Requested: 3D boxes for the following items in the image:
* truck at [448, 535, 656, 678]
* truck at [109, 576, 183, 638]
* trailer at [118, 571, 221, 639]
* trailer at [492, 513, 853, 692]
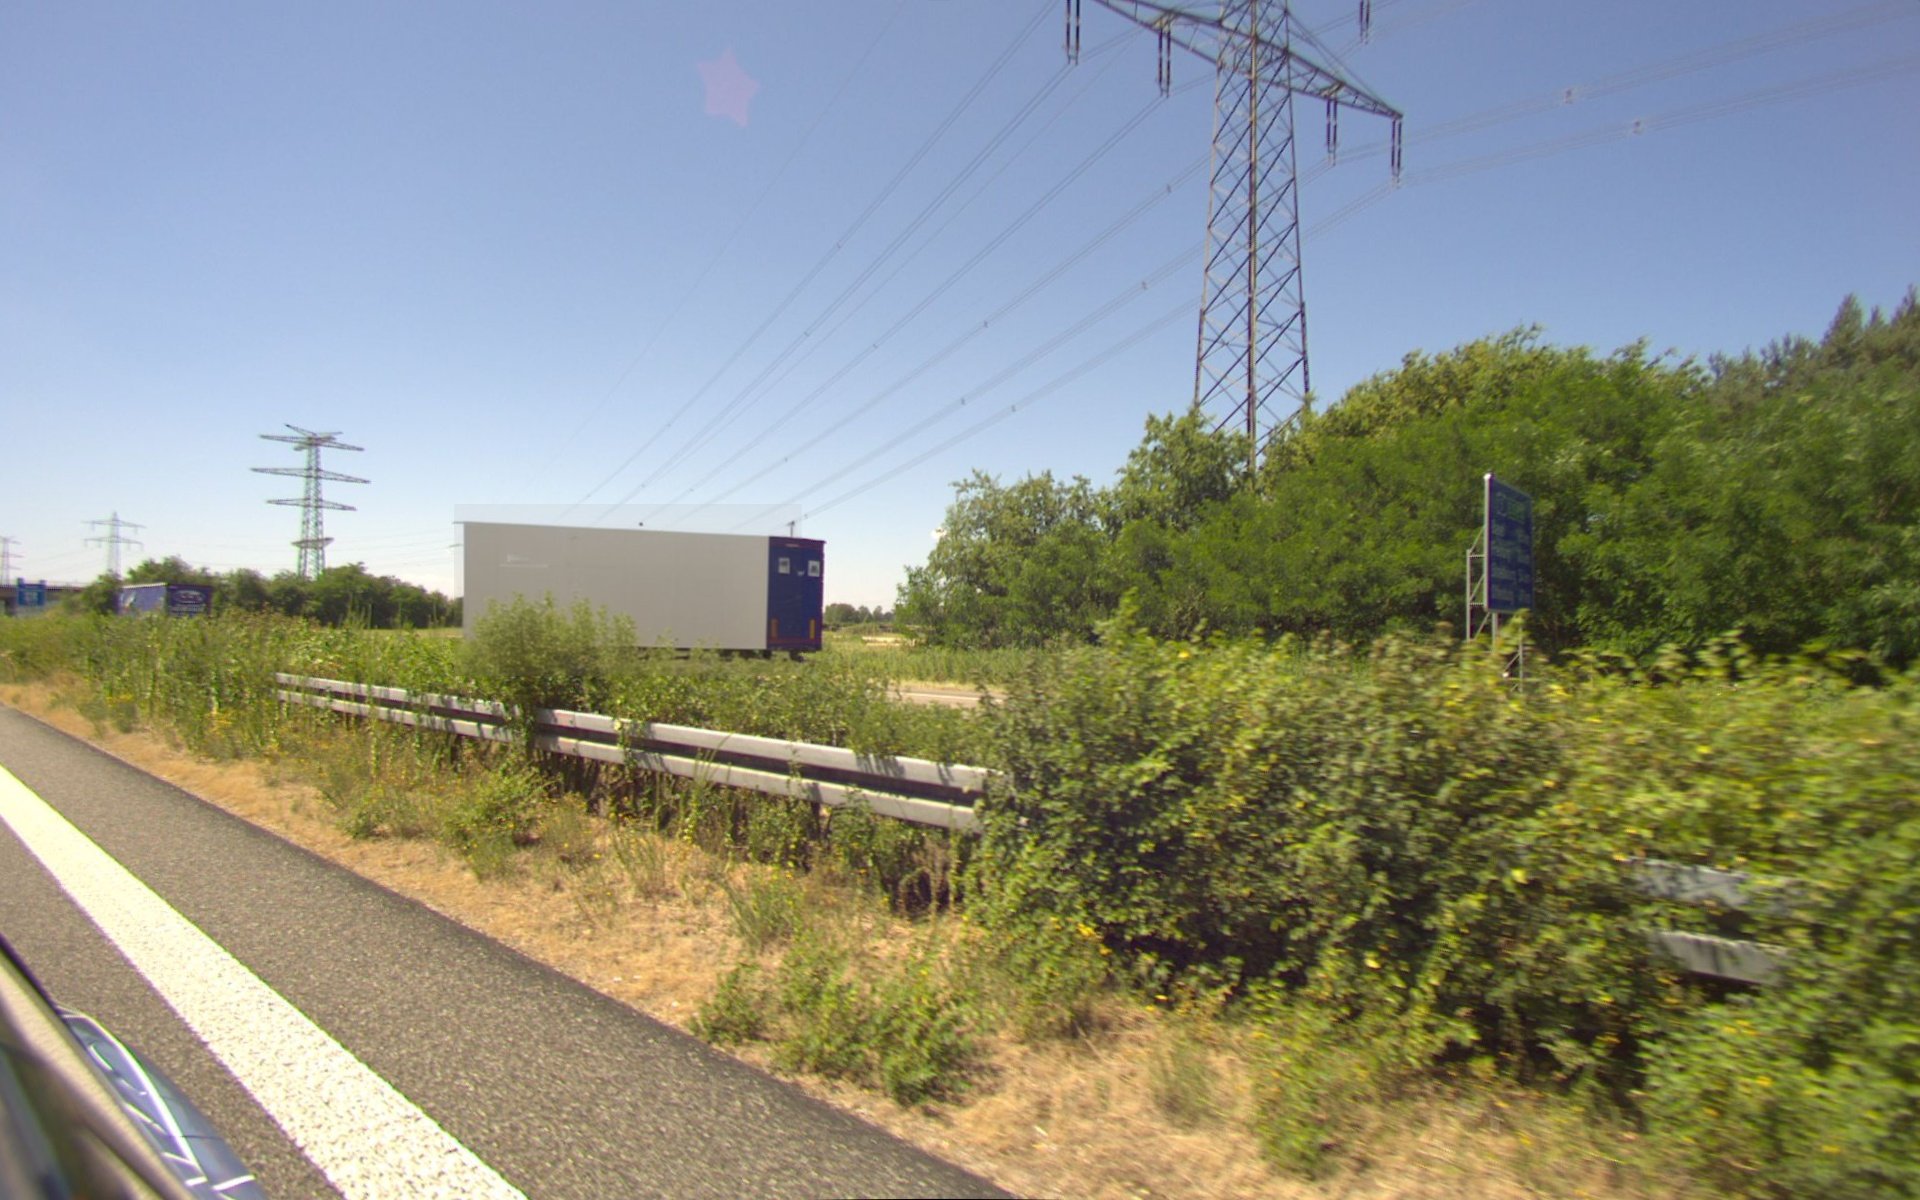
[{"bbox_3d":[-14.367,0.320,35.333,7.966,4.441,3.309,-1,-4,41],"label":"truck"},{"bbox_3d":[-62.501,0.583,77.626,6.797,4.441,3.055,-1,-4,41],"label":"truck"},{"bbox_3d":[-57.143,0.469,72.941,14.224,4.441,3.055,-1,-4,41],"label":"trailer"},{"bbox_3d":[-9.393,0.232,31.029,14.156,4.441,3.309,-1,-3,41],"label":"trailer"}]
